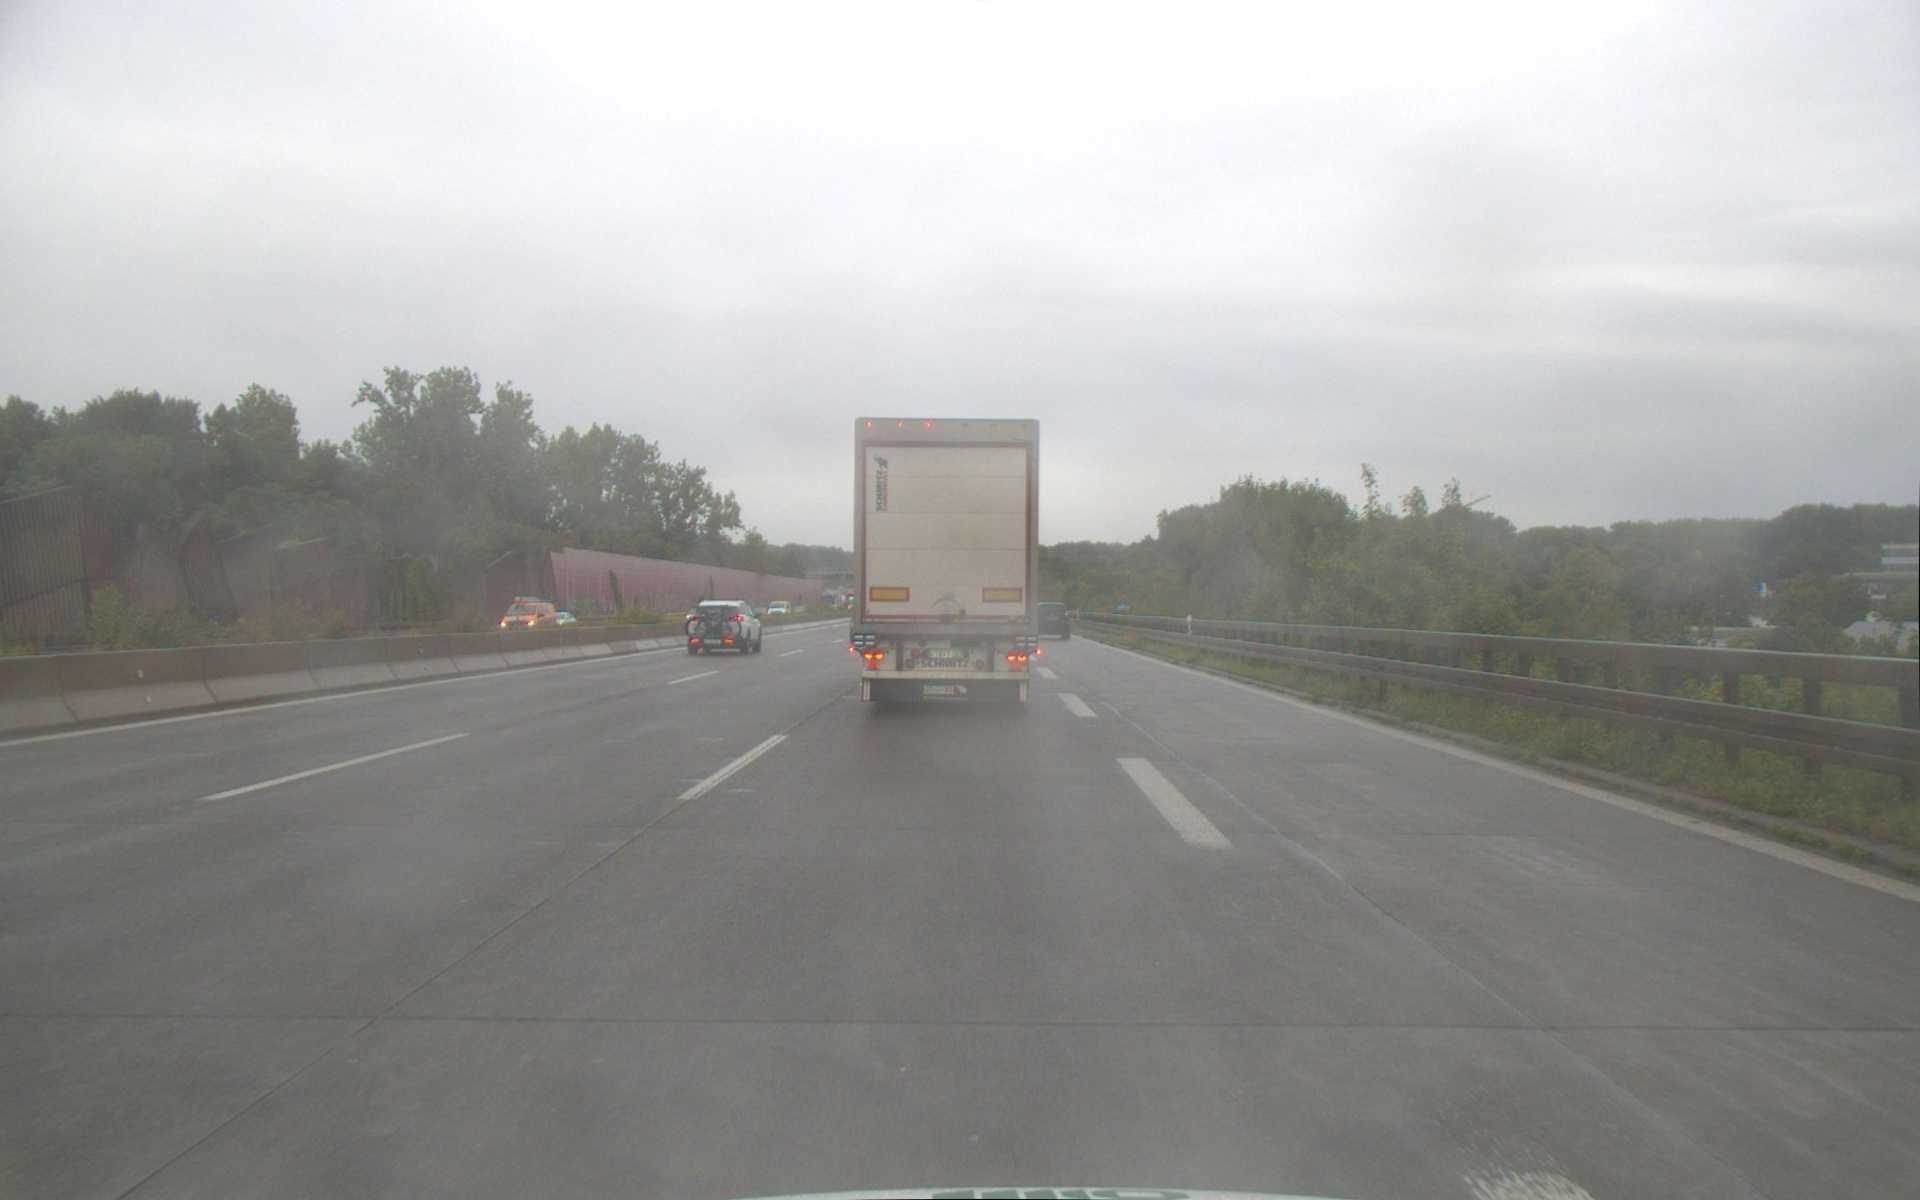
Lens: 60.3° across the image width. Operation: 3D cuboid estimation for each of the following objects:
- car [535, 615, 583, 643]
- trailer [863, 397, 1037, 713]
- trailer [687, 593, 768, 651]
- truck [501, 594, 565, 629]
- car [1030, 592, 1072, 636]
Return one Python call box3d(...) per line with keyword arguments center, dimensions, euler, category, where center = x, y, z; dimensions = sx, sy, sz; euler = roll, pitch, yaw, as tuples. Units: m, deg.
box3d(center=(-25.975, 1.843, 107.371), dimensions=(1.952, 1.770, 4.398), euler=(0, 0, 1), category="car")
box3d(center=(-0.066, -0.595, 29.687), dimensions=(2.294, 4.230, 14.827), euler=(-1, 0, 1), category="trailer")
box3d(center=(-7.039, 0.633, 50.445), dimensions=(1.777, 1.653, 4.568), euler=(0, 0, 0), category="trailer")
box3d(center=(-22.328, 0.615, 86.631), dimensions=(1.952, 1.770, 5.016), euler=(0, 0, 1), category="truck")
box3d(center=(4.261, 0.631, 77.815), dimensions=(1.858, 1.983, 4.001), euler=(1, 0, 2), category="car")
